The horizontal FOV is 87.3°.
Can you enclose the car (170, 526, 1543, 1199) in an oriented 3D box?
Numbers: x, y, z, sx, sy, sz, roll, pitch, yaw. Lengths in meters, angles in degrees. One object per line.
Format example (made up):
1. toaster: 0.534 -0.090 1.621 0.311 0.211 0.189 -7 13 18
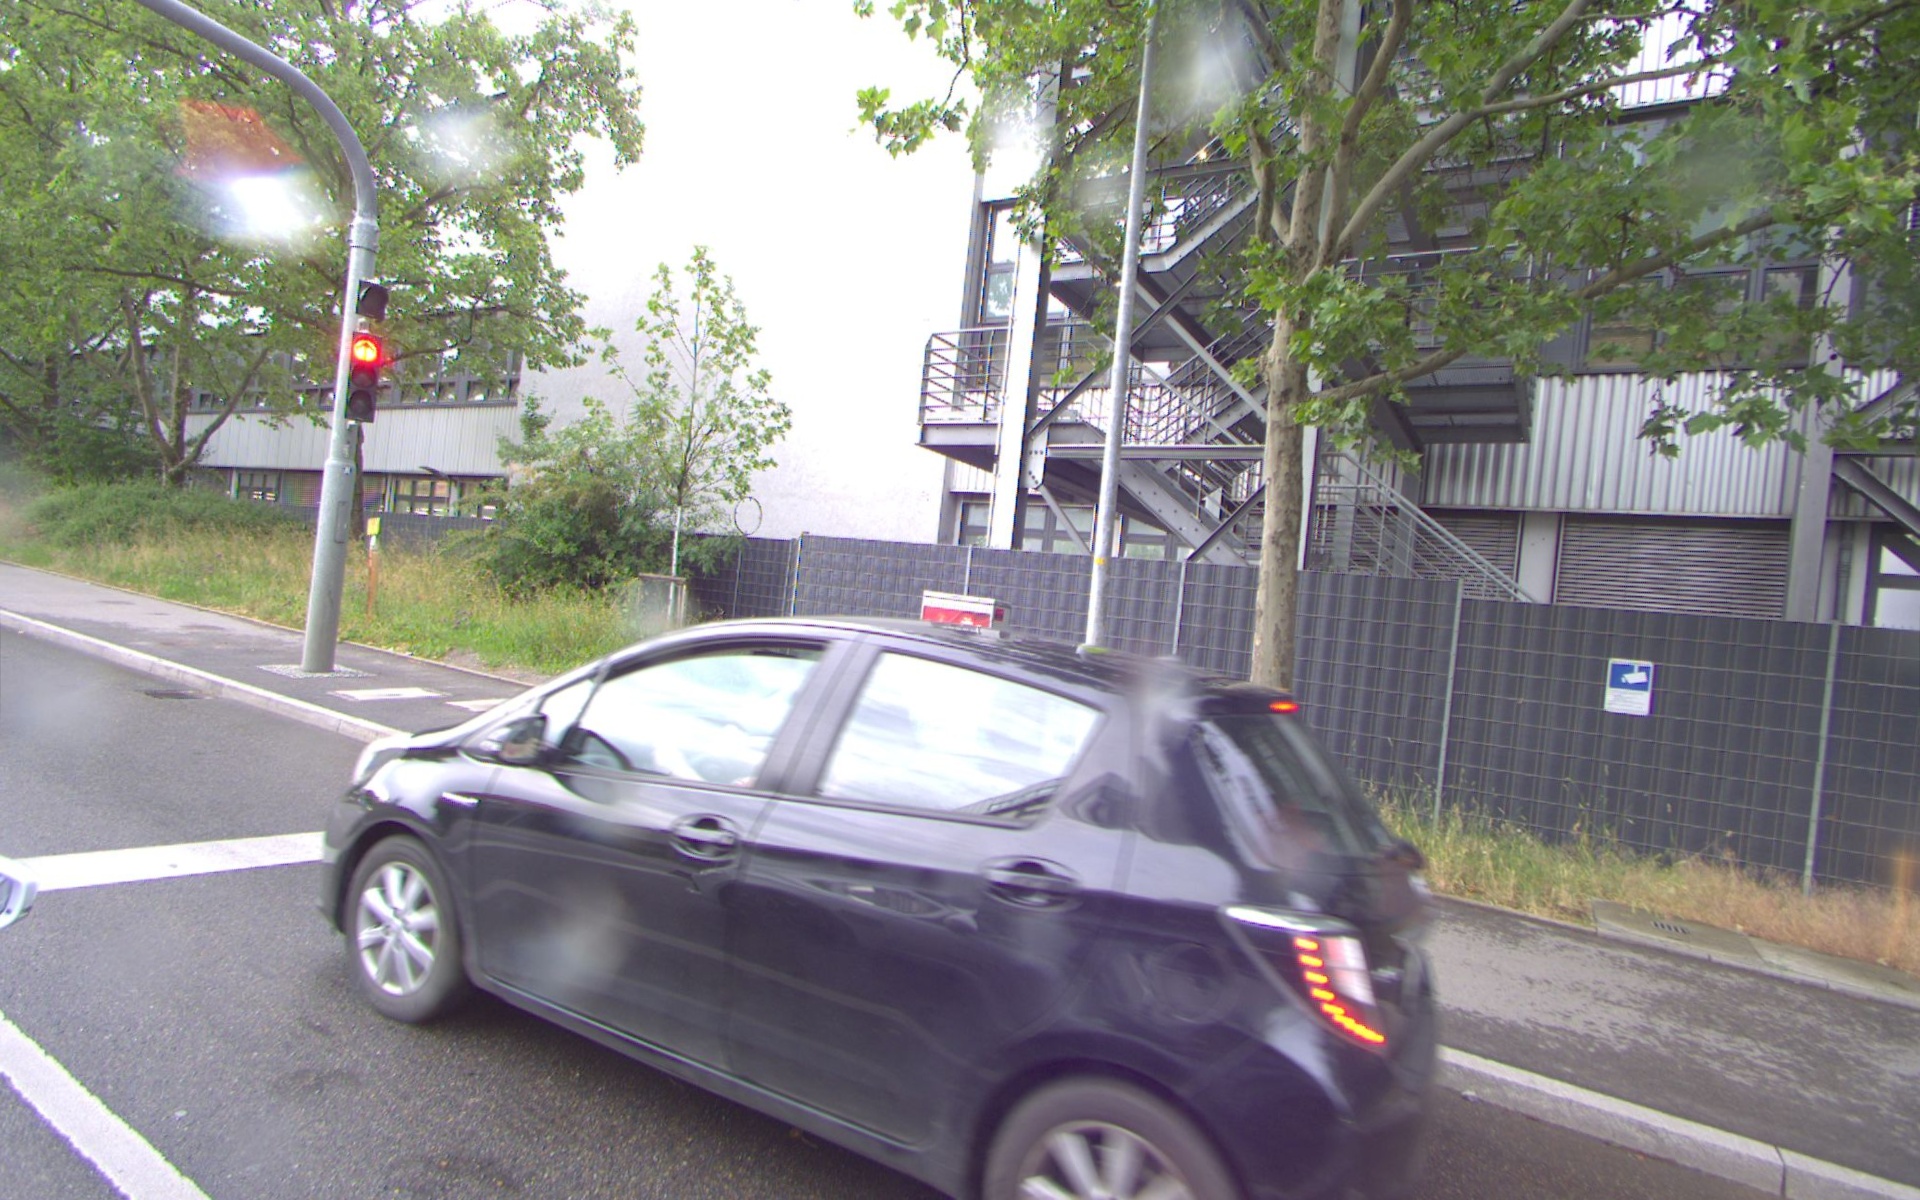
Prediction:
1. car: -0.486 0.754 3.392 4.005 1.513 1.879 7 1 28
